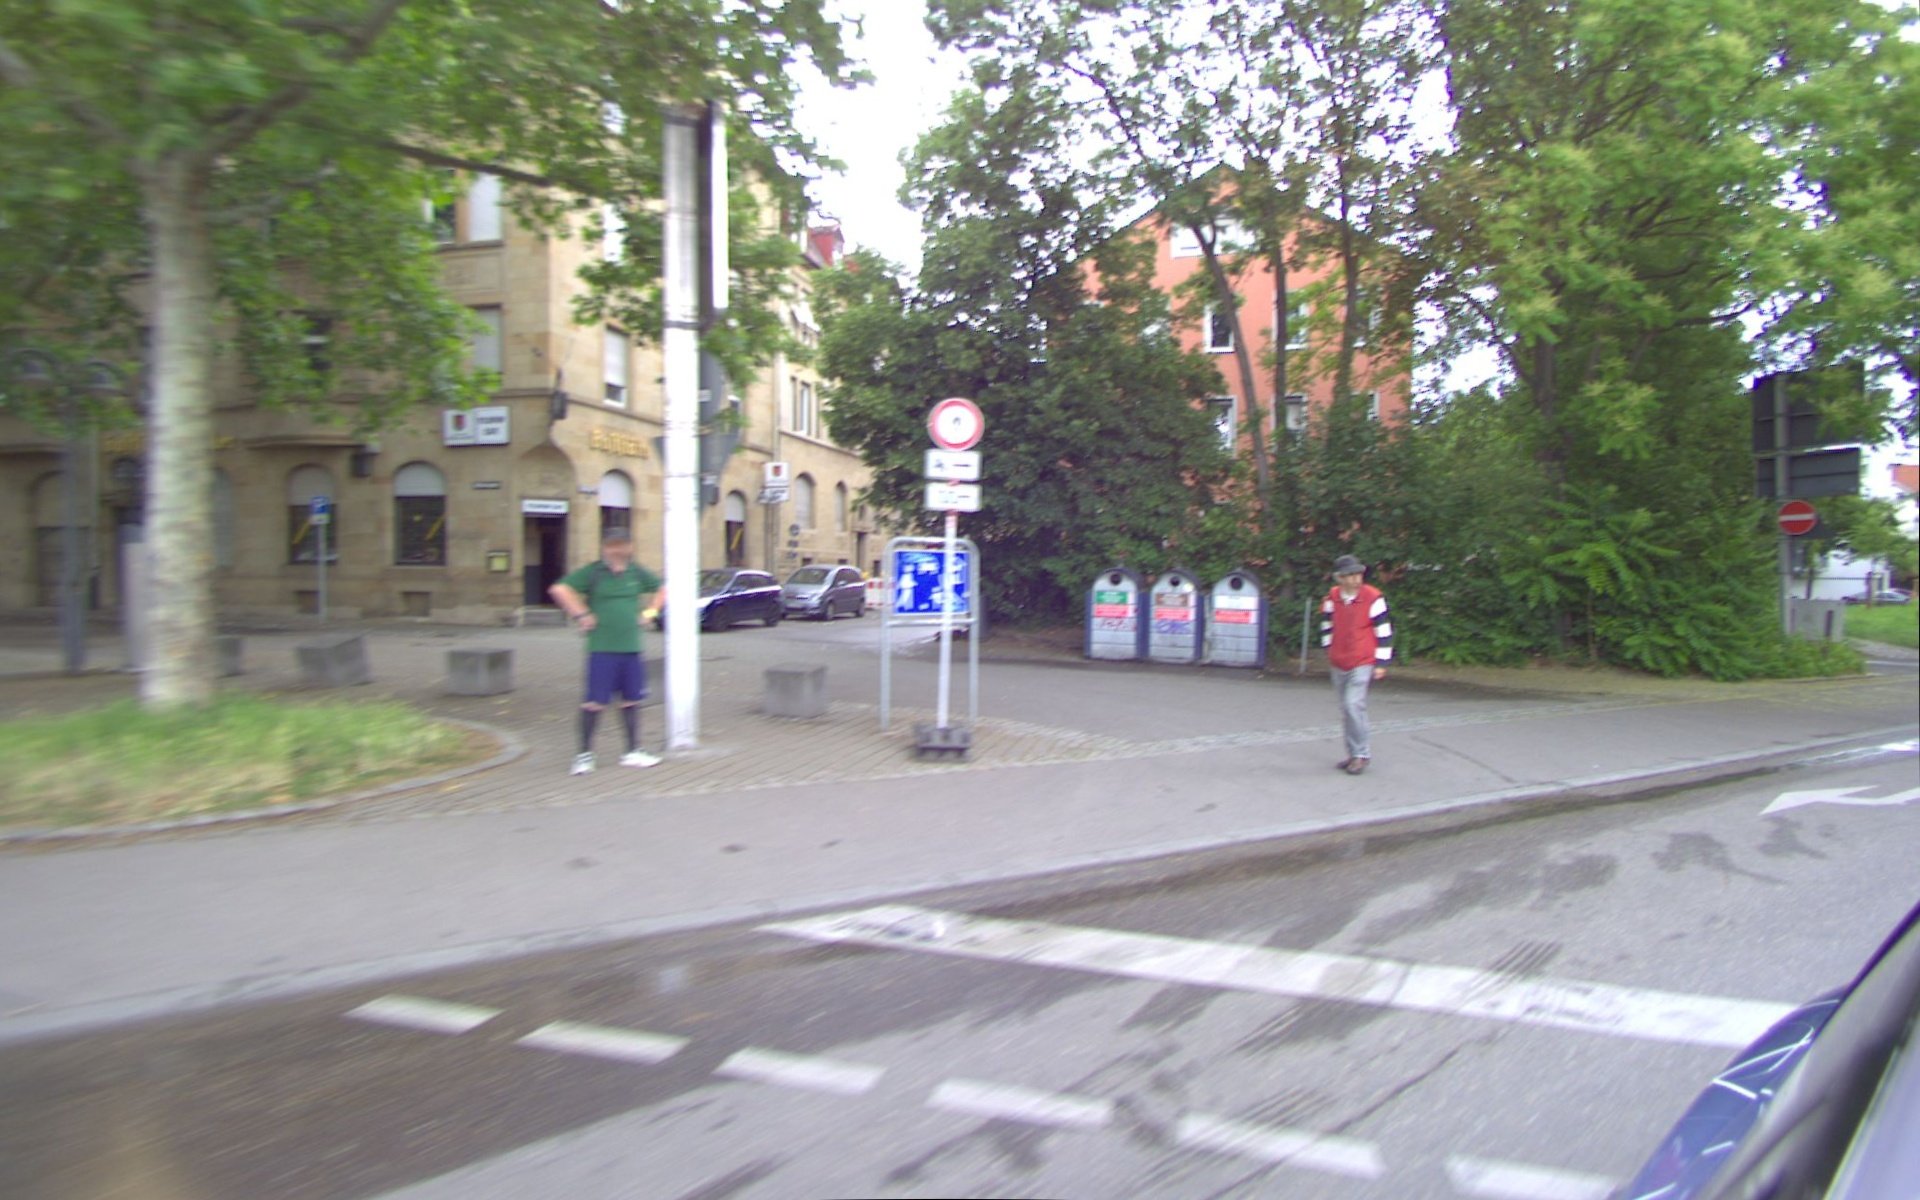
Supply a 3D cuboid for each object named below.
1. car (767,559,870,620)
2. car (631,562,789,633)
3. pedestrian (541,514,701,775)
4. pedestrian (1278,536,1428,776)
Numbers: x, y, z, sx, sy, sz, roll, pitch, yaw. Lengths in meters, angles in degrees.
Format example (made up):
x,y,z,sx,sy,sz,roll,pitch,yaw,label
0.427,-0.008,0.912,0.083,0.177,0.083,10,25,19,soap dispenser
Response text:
x,y,z,sx,sy,sz,roll,pitch,yaw,label
-4.118,-0.371,29.988,1.598,1.608,3.983,2,3,15,car
-5.920,-0.094,24.451,1.710,1.482,4.064,3,2,20,car
-2.415,0.275,7.195,0.823,1.718,0.732,1,2,-40,pedestrian
3.239,0.423,8.372,0.713,1.853,0.783,1,3,-31,pedestrian
